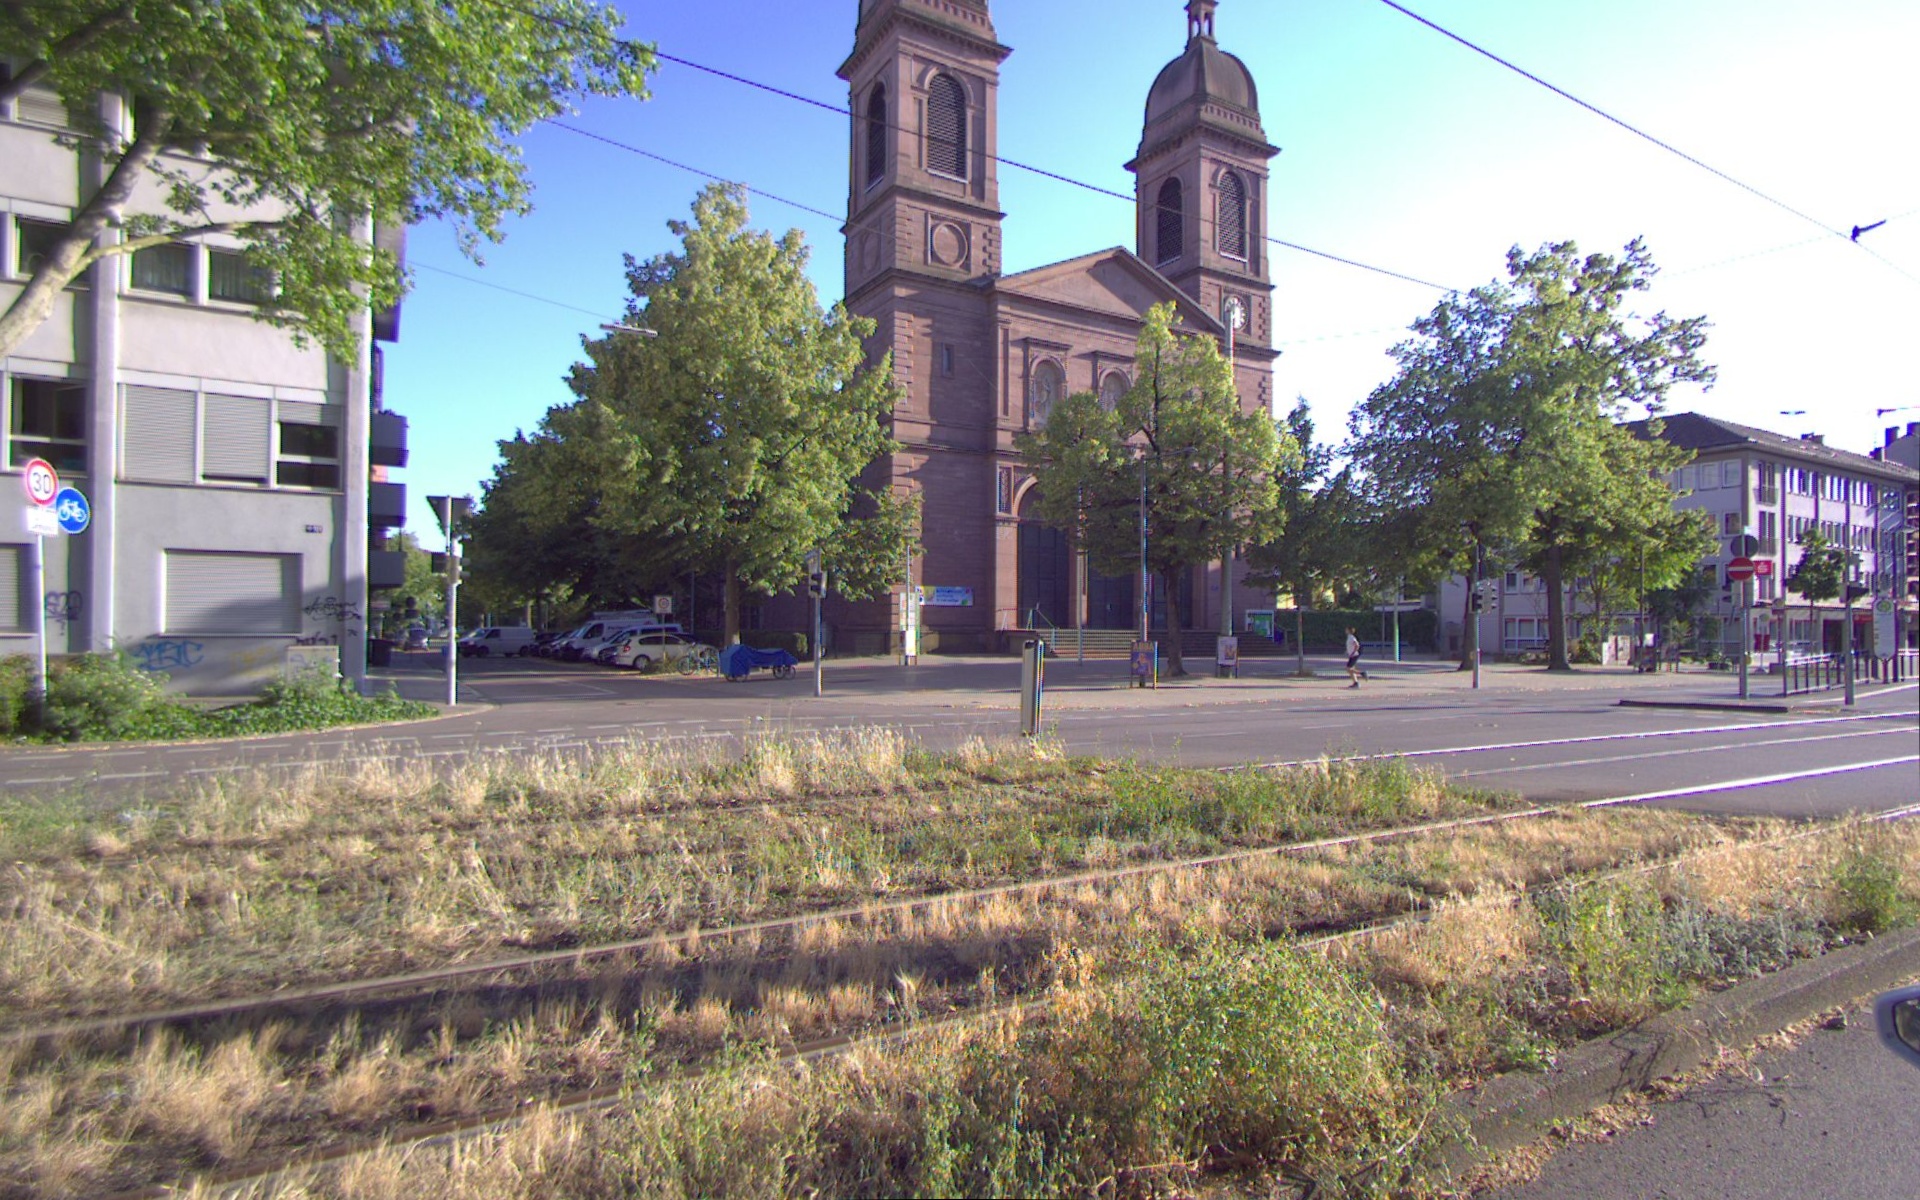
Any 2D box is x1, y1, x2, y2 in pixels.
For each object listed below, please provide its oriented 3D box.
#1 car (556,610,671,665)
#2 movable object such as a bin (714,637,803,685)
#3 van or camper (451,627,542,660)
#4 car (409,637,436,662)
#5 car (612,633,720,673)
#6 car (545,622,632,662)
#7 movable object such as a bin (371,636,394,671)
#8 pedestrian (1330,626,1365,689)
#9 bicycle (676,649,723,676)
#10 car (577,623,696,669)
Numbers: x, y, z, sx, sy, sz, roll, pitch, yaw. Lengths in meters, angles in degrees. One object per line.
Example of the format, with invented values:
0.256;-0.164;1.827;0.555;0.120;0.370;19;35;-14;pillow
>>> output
-18.298;1.974;53.108;5.382;2.710;1.980;2;0;-36;car
-6.156;1.840;30.712;2.416;1.228;1.102;-3;2;-30;movable object such as a bin
-30.072;2.784;65.317;1.965;2.040;5.123;0;-2;32;van or camper
-45.775;4.221;85.468;1.976;2.040;3.970;1;-2;-29;car
-12.229;2.188;41.821;3.953;1.479;1.984;2;0;-30;car
-20.427;2.317;55.266;4.174;2.040;1.981;2;0;-34;car
-22.305;2.041;38.805;0.737;1.323;0.865;1;-2;-32;movable object such as a bin
11.210;1.640;29.059;0.680;1.794;0.675;1;-2;-36;pedestrian
-9.064;2.172;34.962;1.517;0.904;0.465;2;0;-27;bicycle
-15.526;2.189;48.315;5.121;2.040;1.981;2;0;-34;car
